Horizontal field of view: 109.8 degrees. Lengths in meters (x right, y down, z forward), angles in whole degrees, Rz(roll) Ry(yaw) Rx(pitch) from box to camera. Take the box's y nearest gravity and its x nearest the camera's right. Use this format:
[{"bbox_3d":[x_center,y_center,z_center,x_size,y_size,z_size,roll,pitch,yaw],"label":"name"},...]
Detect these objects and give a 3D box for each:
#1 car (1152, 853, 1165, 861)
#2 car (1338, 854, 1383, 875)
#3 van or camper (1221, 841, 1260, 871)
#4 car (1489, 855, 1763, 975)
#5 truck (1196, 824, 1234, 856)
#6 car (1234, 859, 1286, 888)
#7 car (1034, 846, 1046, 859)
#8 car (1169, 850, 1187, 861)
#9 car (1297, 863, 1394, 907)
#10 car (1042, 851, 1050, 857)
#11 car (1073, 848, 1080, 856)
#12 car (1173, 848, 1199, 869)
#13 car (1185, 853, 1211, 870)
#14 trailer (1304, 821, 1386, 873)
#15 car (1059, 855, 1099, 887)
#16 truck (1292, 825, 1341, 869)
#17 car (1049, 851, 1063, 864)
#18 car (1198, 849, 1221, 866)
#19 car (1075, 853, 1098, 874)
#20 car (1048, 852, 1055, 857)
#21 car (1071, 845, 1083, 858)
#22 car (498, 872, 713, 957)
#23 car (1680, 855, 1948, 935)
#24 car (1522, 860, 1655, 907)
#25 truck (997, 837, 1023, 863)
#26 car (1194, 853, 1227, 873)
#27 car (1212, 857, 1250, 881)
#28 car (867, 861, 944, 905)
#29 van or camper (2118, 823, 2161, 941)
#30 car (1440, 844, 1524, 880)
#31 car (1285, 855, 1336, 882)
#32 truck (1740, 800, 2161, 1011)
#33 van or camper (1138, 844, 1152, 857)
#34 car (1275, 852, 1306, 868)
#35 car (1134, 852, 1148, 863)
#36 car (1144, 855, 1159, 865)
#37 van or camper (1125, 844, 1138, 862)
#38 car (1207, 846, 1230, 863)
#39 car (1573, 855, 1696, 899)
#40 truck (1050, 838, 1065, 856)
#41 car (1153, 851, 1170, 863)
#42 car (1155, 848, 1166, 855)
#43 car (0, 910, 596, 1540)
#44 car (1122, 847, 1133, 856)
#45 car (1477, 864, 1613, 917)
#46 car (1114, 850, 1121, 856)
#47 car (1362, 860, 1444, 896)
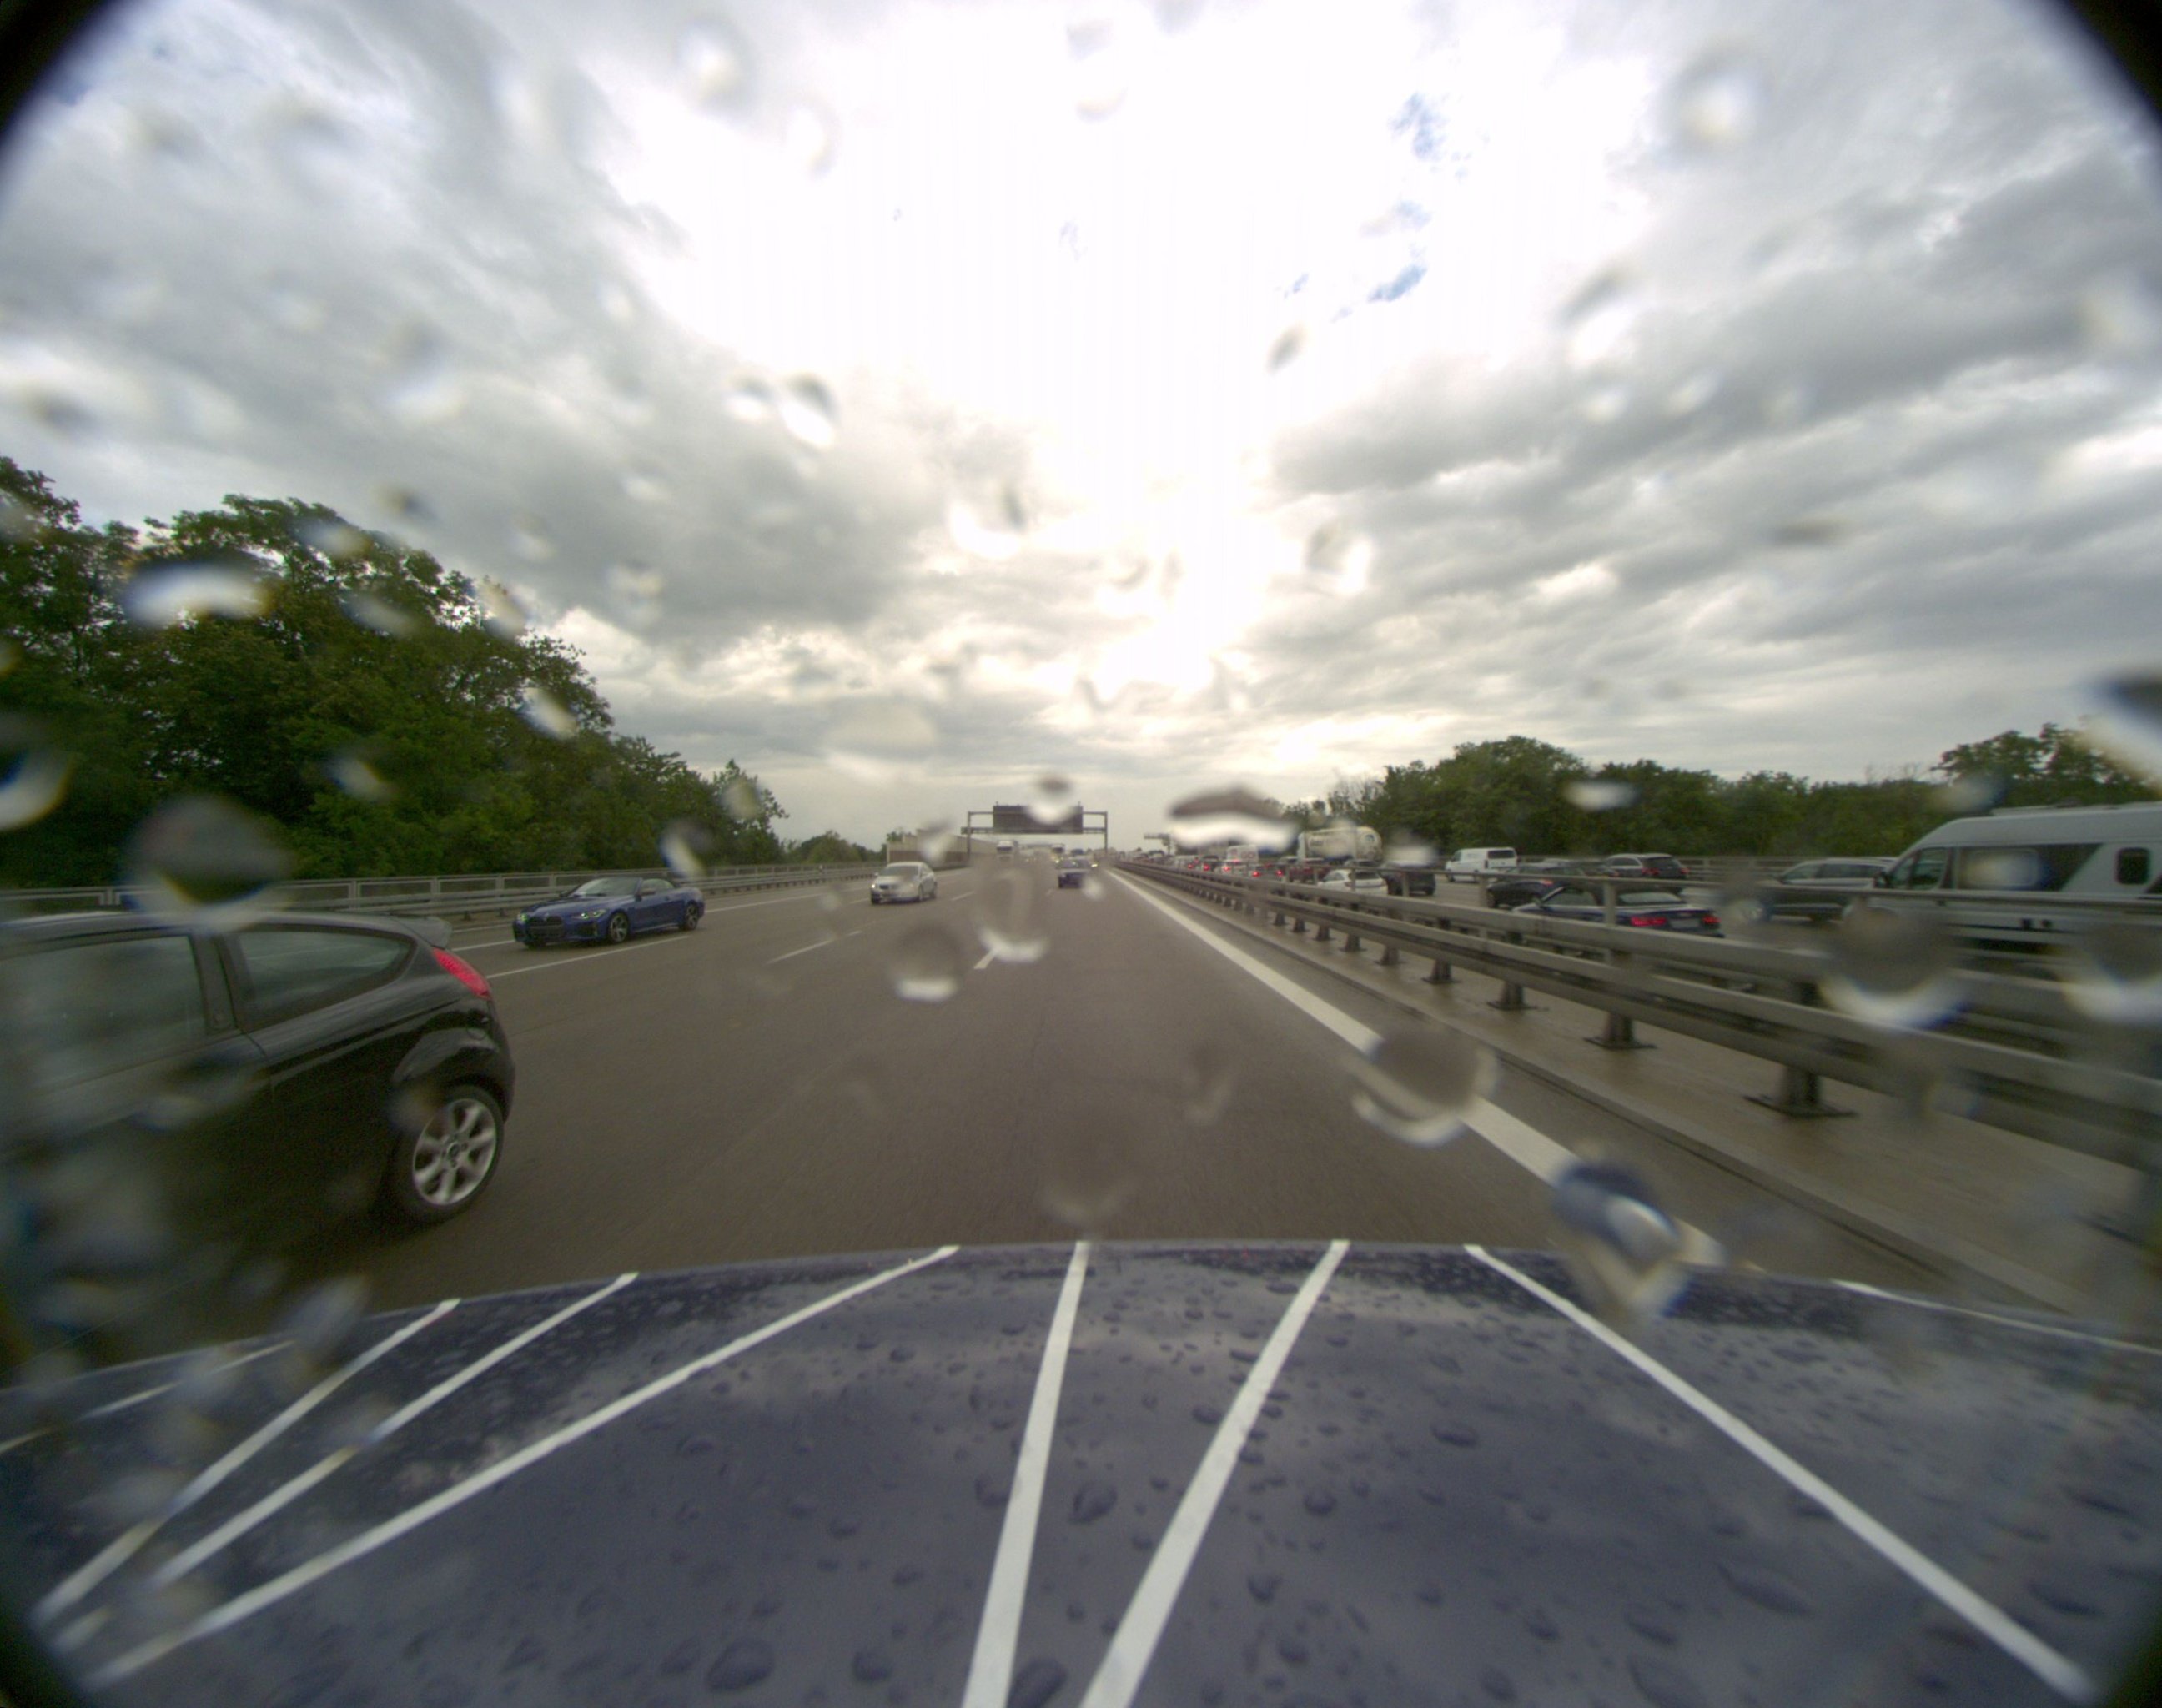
[{"bbox_3d":[14.853,0.612,145.136,2.025,1.504,4.000,-1,0,0],"label":"car"},{"bbox_3d":[18.356,0.660,50.100,1.502,1.260,3.999,0,0,0],"label":"car"},{"bbox_3d":[14.567,0.123,69.884,2.039,2.589,7.457,0,0,0],"label":"van or camper"},{"bbox_3d":[10.313,1.019,14.966,1.953,1.937,4.724,-1,0,-1],"label":"car"},{"bbox_3d":[18.469,-1.849,105.524,3.266,4.268,10.867,-1,0,0],"label":"truck"},{"bbox_3d":[10.532,1.111,44.962,1.957,1.506,5.071,-1,0,1],"label":"car"},{"bbox_3d":[-8.307,-0.337,153.607,2.036,2.587,4.513,0,1,1],"label":"car"},{"bbox_3d":[14.204,0.209,111.429,1.932,1.606,4.421,-1,0,0],"label":"car"},{"bbox_3d":[10.349,1.154,30.299,1.836,1.467,5.923,-1,0,0],"label":"car"},{"bbox_3d":[-9.033,-0.085,195.273,1.884,1.501,4.213,-1,0,0],"label":"car"},{"bbox_3d":[-1.304,-0.547,216.058,1.998,2.002,3.507,-2,1,1],"label":"car"},{"bbox_3d":[10.564,0.431,76.545,1.858,1.974,5.037,-1,0,-1],"label":"car"},{"bbox_3d":[10.578,0.686,68.975,1.684,1.480,4.226,-1,0,-1],"label":"car"},{"bbox_3d":[22.326,-0.566,65.354,2.468,3.935,13.218,-1,0,0],"label":"trailer"},{"bbox_3d":[-0.097,0.795,37.461,1.781,1.399,5.016,-1,0,0],"label":"car"},{"bbox_3d":[22.349,-0.644,72.383,2.468,3.942,6.982,-1,0,0],"label":"truck"},{"bbox_3d":[-3.506,0.462,107.443,1.962,1.831,3.999,-1,1,0],"label":"car"},{"bbox_3d":[14.417,0.362,85.196,1.799,1.846,4.647,0,0,0],"label":"car"},{"bbox_3d":[0.441,0.749,61.040,1.751,1.489,4.015,-1,1,1],"label":"car"},{"bbox_3d":[-9.584,0.191,248.341,1.998,1.805,4.000,-1,0,0],"label":"car"},{"bbox_3d":[-0.749,-0.490,138.413,1.998,2.354,4.172,-2,1,1],"label":"car"},{"bbox_3d":[-10.070,1.201,16.616,1.781,1.438,4.587,-1,0,0],"label":"car"},{"bbox_3d":[17.978,0.894,19.103,1.836,1.699,5.065,-1,0,0],"label":"car"},{"bbox_3d":[18.591,1.019,28.127,1.836,1.503,4.584,-1,0,0],"label":"car"},{"bbox_3d":[-11.230,-0.659,121.647,3.255,3.884,12.311,-2,1,-2],"label":"truck"},{"bbox_3d":[10.291,0.705,60.661,1.794,1.501,4.602,-1,0,-1],"label":"car"},{"bbox_3d":[10.645,1.019,54.240,1.794,1.618,4.927,-1,0,1],"label":"car"},{"bbox_3d":[-6.528,1.030,28.788,1.898,1.438,4.245,-1,0,0],"label":"car"},{"bbox_3d":[22.231,0.559,12.557,2.051,2.316,5.933,0,0,0],"label":"van or camper"},{"bbox_3d":[22.956,0.414,43.781,2.008,1.933,5.420,0,0,0],"label":"car"},{"bbox_3d":[14.595,0.873,48.558,1.836,1.638,4.419,-1,0,-1],"label":"car"},{"bbox_3d":[14.340,0.614,10.977,2.151,2.587,8.756,-1,0,1],"label":"truck"},{"bbox_3d":[13.661,-0.749,163.103,2.455,2.563,5.420,-1,0,0],"label":"van or camper"},{"bbox_3d":[18.255,0.477,66.323,1.502,1.358,4.323,-1,0,0],"label":"car"},{"bbox_3d":[10.048,0.621,127.506,1.826,1.831,4.034,-1,0,-1],"label":"car"},{"bbox_3d":[10.417,0.896,112.826,1.757,1.464,4.034,-1,0,-1],"label":"car"},{"bbox_3d":[9.417,-0.177,141.537,2.007,3.382,4.368,-1,0,-1],"label":"van or camper"},{"bbox_3d":[14.817,0.062,82.153,1.709,1.829,4.114,-1,0,-1],"label":"car"},{"bbox_3d":[22.435,0.879,31.073,1.691,1.638,4.669,-1,0,1],"label":"car"},{"bbox_3d":[-5.388,-1.535,171.724,2.958,3.777,12.324,-2,1,-3],"label":"truck"},{"bbox_3d":[10.156,0.397,96.321,1.673,1.497,4.000,-1,0,0],"label":"car"},{"bbox_3d":[17.480,-0.459,167.233,2.025,1.504,4.000,-1,0,0],"label":"car"},{"bbox_3d":[-3.633,1.068,2.172,1.668,1.431,4.404,-1,0,-1],"label":"car"},{"bbox_3d":[9.811,-0.505,161.139,1.998,1.956,4.000,-1,0,0],"label":"car"},{"bbox_3d":[14.682,1.097,24.338,1.836,1.467,4.032,-1,0,-1],"label":"car"},{"bbox_3d":[11.124,-0.337,231.955,1.737,1.565,4.000,-1,0,0],"label":"car"},{"bbox_3d":[14.654,1.030,34.873,1.836,1.467,4.576,-1,0,1],"label":"car"}]
